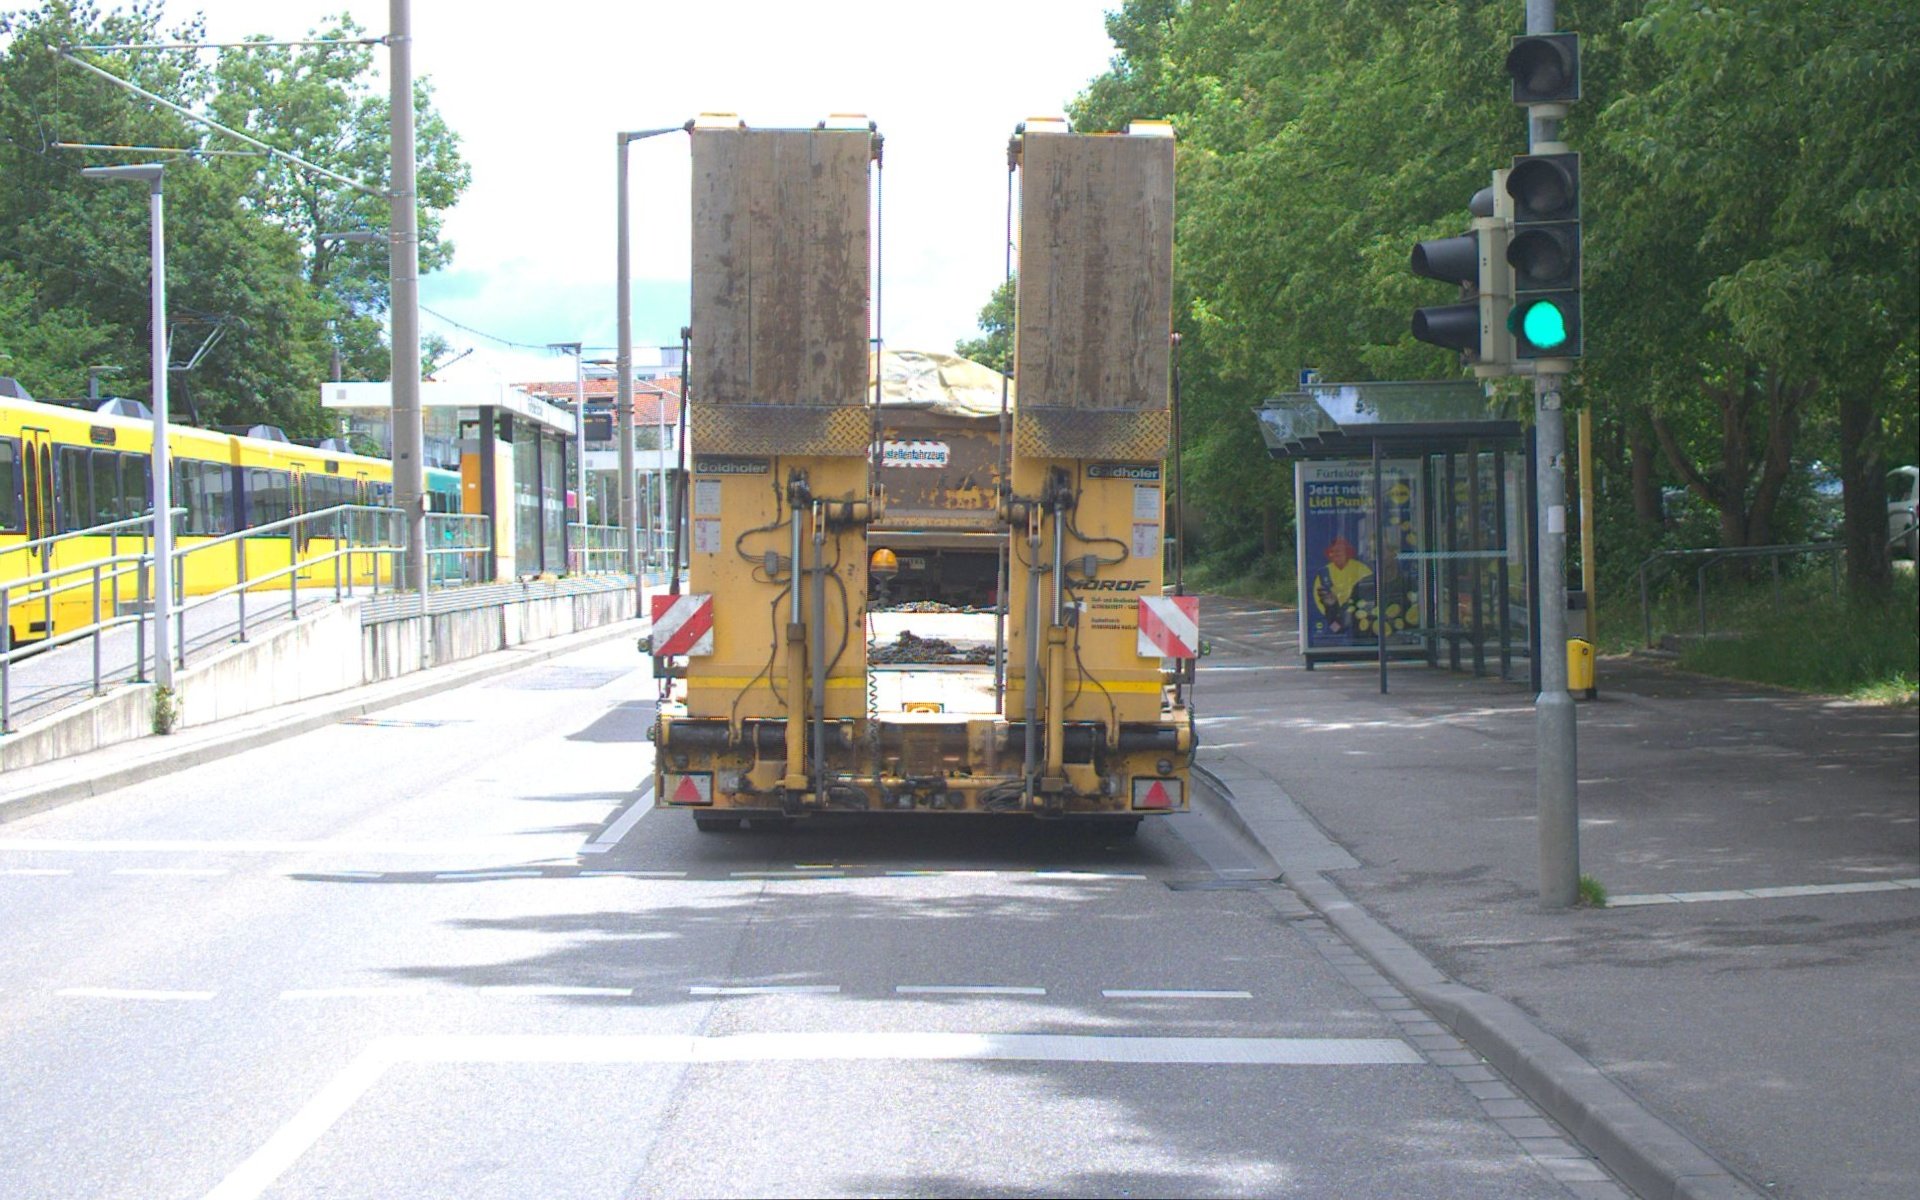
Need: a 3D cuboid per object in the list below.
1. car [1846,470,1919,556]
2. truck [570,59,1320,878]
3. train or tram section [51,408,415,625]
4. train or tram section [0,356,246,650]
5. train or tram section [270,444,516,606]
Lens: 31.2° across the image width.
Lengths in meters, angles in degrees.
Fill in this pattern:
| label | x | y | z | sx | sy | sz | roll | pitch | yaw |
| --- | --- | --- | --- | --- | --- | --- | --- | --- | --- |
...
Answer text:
| label | x | y | z | sx | sy | sz | roll | pitch | yaw |
| --- | --- | --- | --- | --- | --- | --- | --- | --- | --- |
| car | 16.709 | -1.518 | 58.997 | 1.841 | 1.415 | 4.124 | -3 | 1 | 0 |
| truck | -0.442 | -0.705 | 22.638 | 3.402 | 3.719 | 13.740 | -1 | 1 | -3 |
| train or tram section | -13.192 | -1.467 | 64.789 | 3.108 | 3.453 | 18.998 | 1 | 1 | -1 |
| train or tram section | -12.907 | -1.230 | 45.865 | 3.108 | 3.453 | 18.827 | 1 | 1 | -1 |
| train or tram section | -13.491 | -1.742 | 83.913 | 3.108 | 3.453 | 19.200 | 1 | 1 | -1 |
